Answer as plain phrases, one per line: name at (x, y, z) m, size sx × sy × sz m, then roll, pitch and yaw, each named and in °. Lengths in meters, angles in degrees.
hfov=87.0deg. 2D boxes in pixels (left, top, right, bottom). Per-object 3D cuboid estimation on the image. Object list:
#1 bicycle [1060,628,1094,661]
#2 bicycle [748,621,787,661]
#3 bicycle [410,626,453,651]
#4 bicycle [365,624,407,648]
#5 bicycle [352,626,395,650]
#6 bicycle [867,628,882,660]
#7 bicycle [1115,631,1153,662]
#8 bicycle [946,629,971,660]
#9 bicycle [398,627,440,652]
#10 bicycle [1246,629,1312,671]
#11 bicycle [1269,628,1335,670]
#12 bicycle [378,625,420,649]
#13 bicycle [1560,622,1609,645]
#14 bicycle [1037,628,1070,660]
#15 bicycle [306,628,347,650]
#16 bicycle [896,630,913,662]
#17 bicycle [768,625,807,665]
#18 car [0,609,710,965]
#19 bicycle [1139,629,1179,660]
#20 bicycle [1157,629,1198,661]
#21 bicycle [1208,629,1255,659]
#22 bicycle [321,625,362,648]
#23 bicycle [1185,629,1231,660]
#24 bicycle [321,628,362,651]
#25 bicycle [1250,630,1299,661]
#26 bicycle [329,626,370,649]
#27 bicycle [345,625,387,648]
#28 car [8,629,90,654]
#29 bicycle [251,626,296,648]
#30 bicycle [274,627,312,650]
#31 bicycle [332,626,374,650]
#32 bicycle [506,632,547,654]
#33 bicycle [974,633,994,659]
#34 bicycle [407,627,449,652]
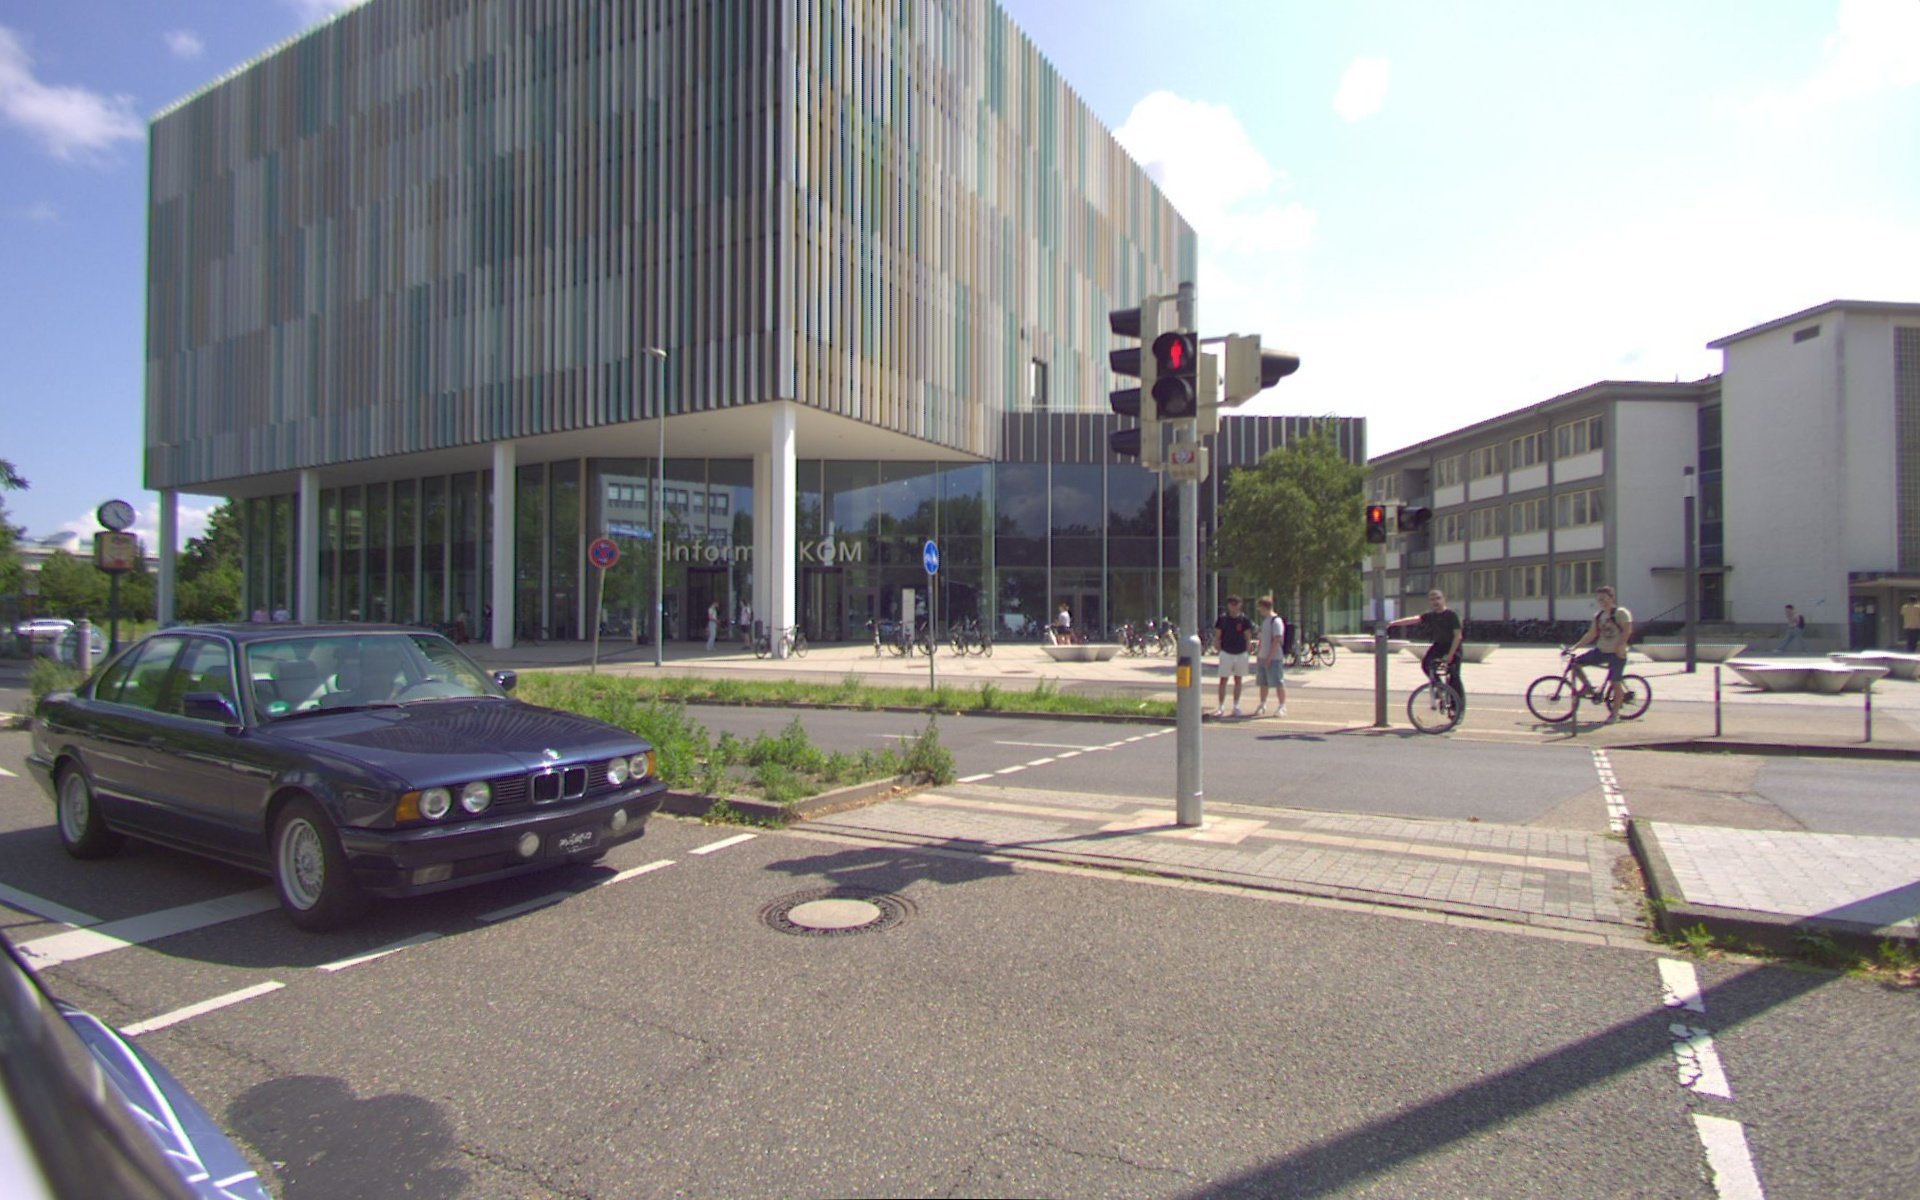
bicycle at (3.831, 1.452, 33.275) m, size 0.520 × 0.962 × 1.778 m, roll 0°, pitch 1°, yaw -13°
bicycle at (-6.147, 1.287, 32.356) m, size 0.372 × 1.196 × 1.532 m, roll 0°, pitch 1°, yaw 28°
bicycle at (-21.986, 1.606, 42.101) m, size 0.374 × 0.962 × 1.524 m, roll -1°, pitch 0°, yaw 45°
bicycle at (-24.645, 1.558, 43.461) m, size 0.374 × 0.962 × 1.524 m, roll -1°, pitch 0°, yaw 45°
bicycle at (-25.312, 1.638, 43.689) m, size 0.374 × 0.962 × 1.524 m, roll -1°, pitch 0°, yaw 45°
bicycle at (-2.765, 1.408, 32.472) m, size 0.367 × 0.962 × 1.549 m, roll 0°, pitch -1°, yaw -9°
bicycle at (5.746, 1.523, 33.456) m, size 0.520 × 0.962 × 1.779 m, roll 0°, pitch -1°, yaw -16°
bicycle at (-0.032, 1.429, 32.895) m, size 0.523 × 0.962 × 1.768 m, roll 0°, pitch -1°, yaw 10°
bicycle at (-22.932, 1.661, 42.938) m, size 0.374 × 0.962 × 1.524 m, roll -1°, pitch 0°, yaw 45°
bicycle at (7.849, 1.217, 24.980) m, size 0.520 × 0.962 × 1.779 m, roll 0°, pitch -1°, yaw -22°
bicycle at (8.446, 1.204, 25.065) m, size 0.520 × 0.962 × 1.779 m, roll 0°, pitch -1°, yaw -22°
bicycle at (-24.040, 1.587, 43.389) m, size 0.374 × 0.962 × 1.524 m, roll -1°, pitch 0°, yaw 45°
bicycle at (27.080, 1.450, 43.883) m, size 1.751 × 0.962 × 0.528 m, roll 0°, pitch 1°, yaw 5°
bicycle at (3.034, 1.410, 32.998) m, size 0.520 × 0.962 × 1.778 m, roll 0°, pitch 0°, yaw -13°
bicycle at (-29.126, 1.776, 46.526) m, size 0.374 × 0.962 × 1.524 m, roll -1°, pitch 0°, yaw 45°
bicycle at (-1.813, 1.491, 32.916) m, size 0.367 × 0.962 × 1.777 m, roll 0°, pitch -1°, yaw -9°
bicycle at (-5.468, 1.416, 32.127) m, size 0.372 × 1.196 × 1.532 m, roll 0°, pitch 1°, yaw 28°
car at (-3.754, 0.788, 5.955) m, size 4.597 × 1.397 × 1.679 m, roll -1°, pitch 0°, yaw 31°
bicycle at (6.537, 1.447, 33.359) m, size 0.520 × 0.962 × 1.779 m, roll 0°, pitch -1°, yaw -16°
bicycle at (7.189, 1.476, 33.501) m, size 0.520 × 0.962 × 1.779 m, roll 0°, pitch -1°, yaw -16°
bicycle at (9.008, 1.448, 33.620) m, size 0.520 × 0.962 × 1.779 m, roll 0°, pitch -1°, yaw -22°
bicycle at (-27.823, 1.646, 45.572) m, size 0.374 × 0.962 × 1.524 m, roll -1°, pitch 0°, yaw 45°
bicycle at (8.234, 1.455, 33.637) m, size 0.520 × 0.962 × 1.779 m, roll 0°, pitch -1°, yaw -22°
bicycle at (-28.067, 1.796, 45.922) m, size 0.374 × 0.962 × 1.524 m, roll -1°, pitch 0°, yaw 45°
bicycle at (10.409, 1.501, 33.546) m, size 0.520 × 0.962 × 1.779 m, roll 0°, pitch -1°, yaw -22°
bicycle at (-27.284, 1.667, 45.247) m, size 0.374 × 0.962 × 1.524 m, roll -1°, pitch 0°, yaw 45°
bicycle at (-26.067, 1.586, 44.410) m, size 0.374 × 0.962 × 1.524 m, roll -1°, pitch 0°, yaw 45°
car at (-61.380, 2.775, 68.208) m, size 1.896 × 1.522 × 3.783 m, roll -1°, pitch 0°, yaw 35°
bicycle at (-33.169, 1.782, 48.909) m, size 0.431 × 0.962 × 1.767 m, roll -1°, pitch 0°, yaw 29°
bicycle at (-30.358, 1.749, 46.048) m, size 0.370 × 0.962 × 1.537 m, roll -1°, pitch 0°, yaw 19°
bicycle at (-26.897, 1.675, 44.848) m, size 0.374 × 0.962 × 1.524 m, roll -1°, pitch 0°, yaw 45°
bicycle at (-17.124, 1.679, 40.012) m, size 0.372 × 0.782 × 1.529 m, roll -1°, pitch 0°, yaw 33°
bicycle at (0.771, 1.482, 32.828) m, size 0.521 × 0.770 × 1.774 m, roll 0°, pitch -1°, yaw -2°
bicycle at (-22.366, 1.644, 42.547) m, size 0.374 × 0.962 × 1.524 m, roll -1°, pitch 0°, yaw 45°
